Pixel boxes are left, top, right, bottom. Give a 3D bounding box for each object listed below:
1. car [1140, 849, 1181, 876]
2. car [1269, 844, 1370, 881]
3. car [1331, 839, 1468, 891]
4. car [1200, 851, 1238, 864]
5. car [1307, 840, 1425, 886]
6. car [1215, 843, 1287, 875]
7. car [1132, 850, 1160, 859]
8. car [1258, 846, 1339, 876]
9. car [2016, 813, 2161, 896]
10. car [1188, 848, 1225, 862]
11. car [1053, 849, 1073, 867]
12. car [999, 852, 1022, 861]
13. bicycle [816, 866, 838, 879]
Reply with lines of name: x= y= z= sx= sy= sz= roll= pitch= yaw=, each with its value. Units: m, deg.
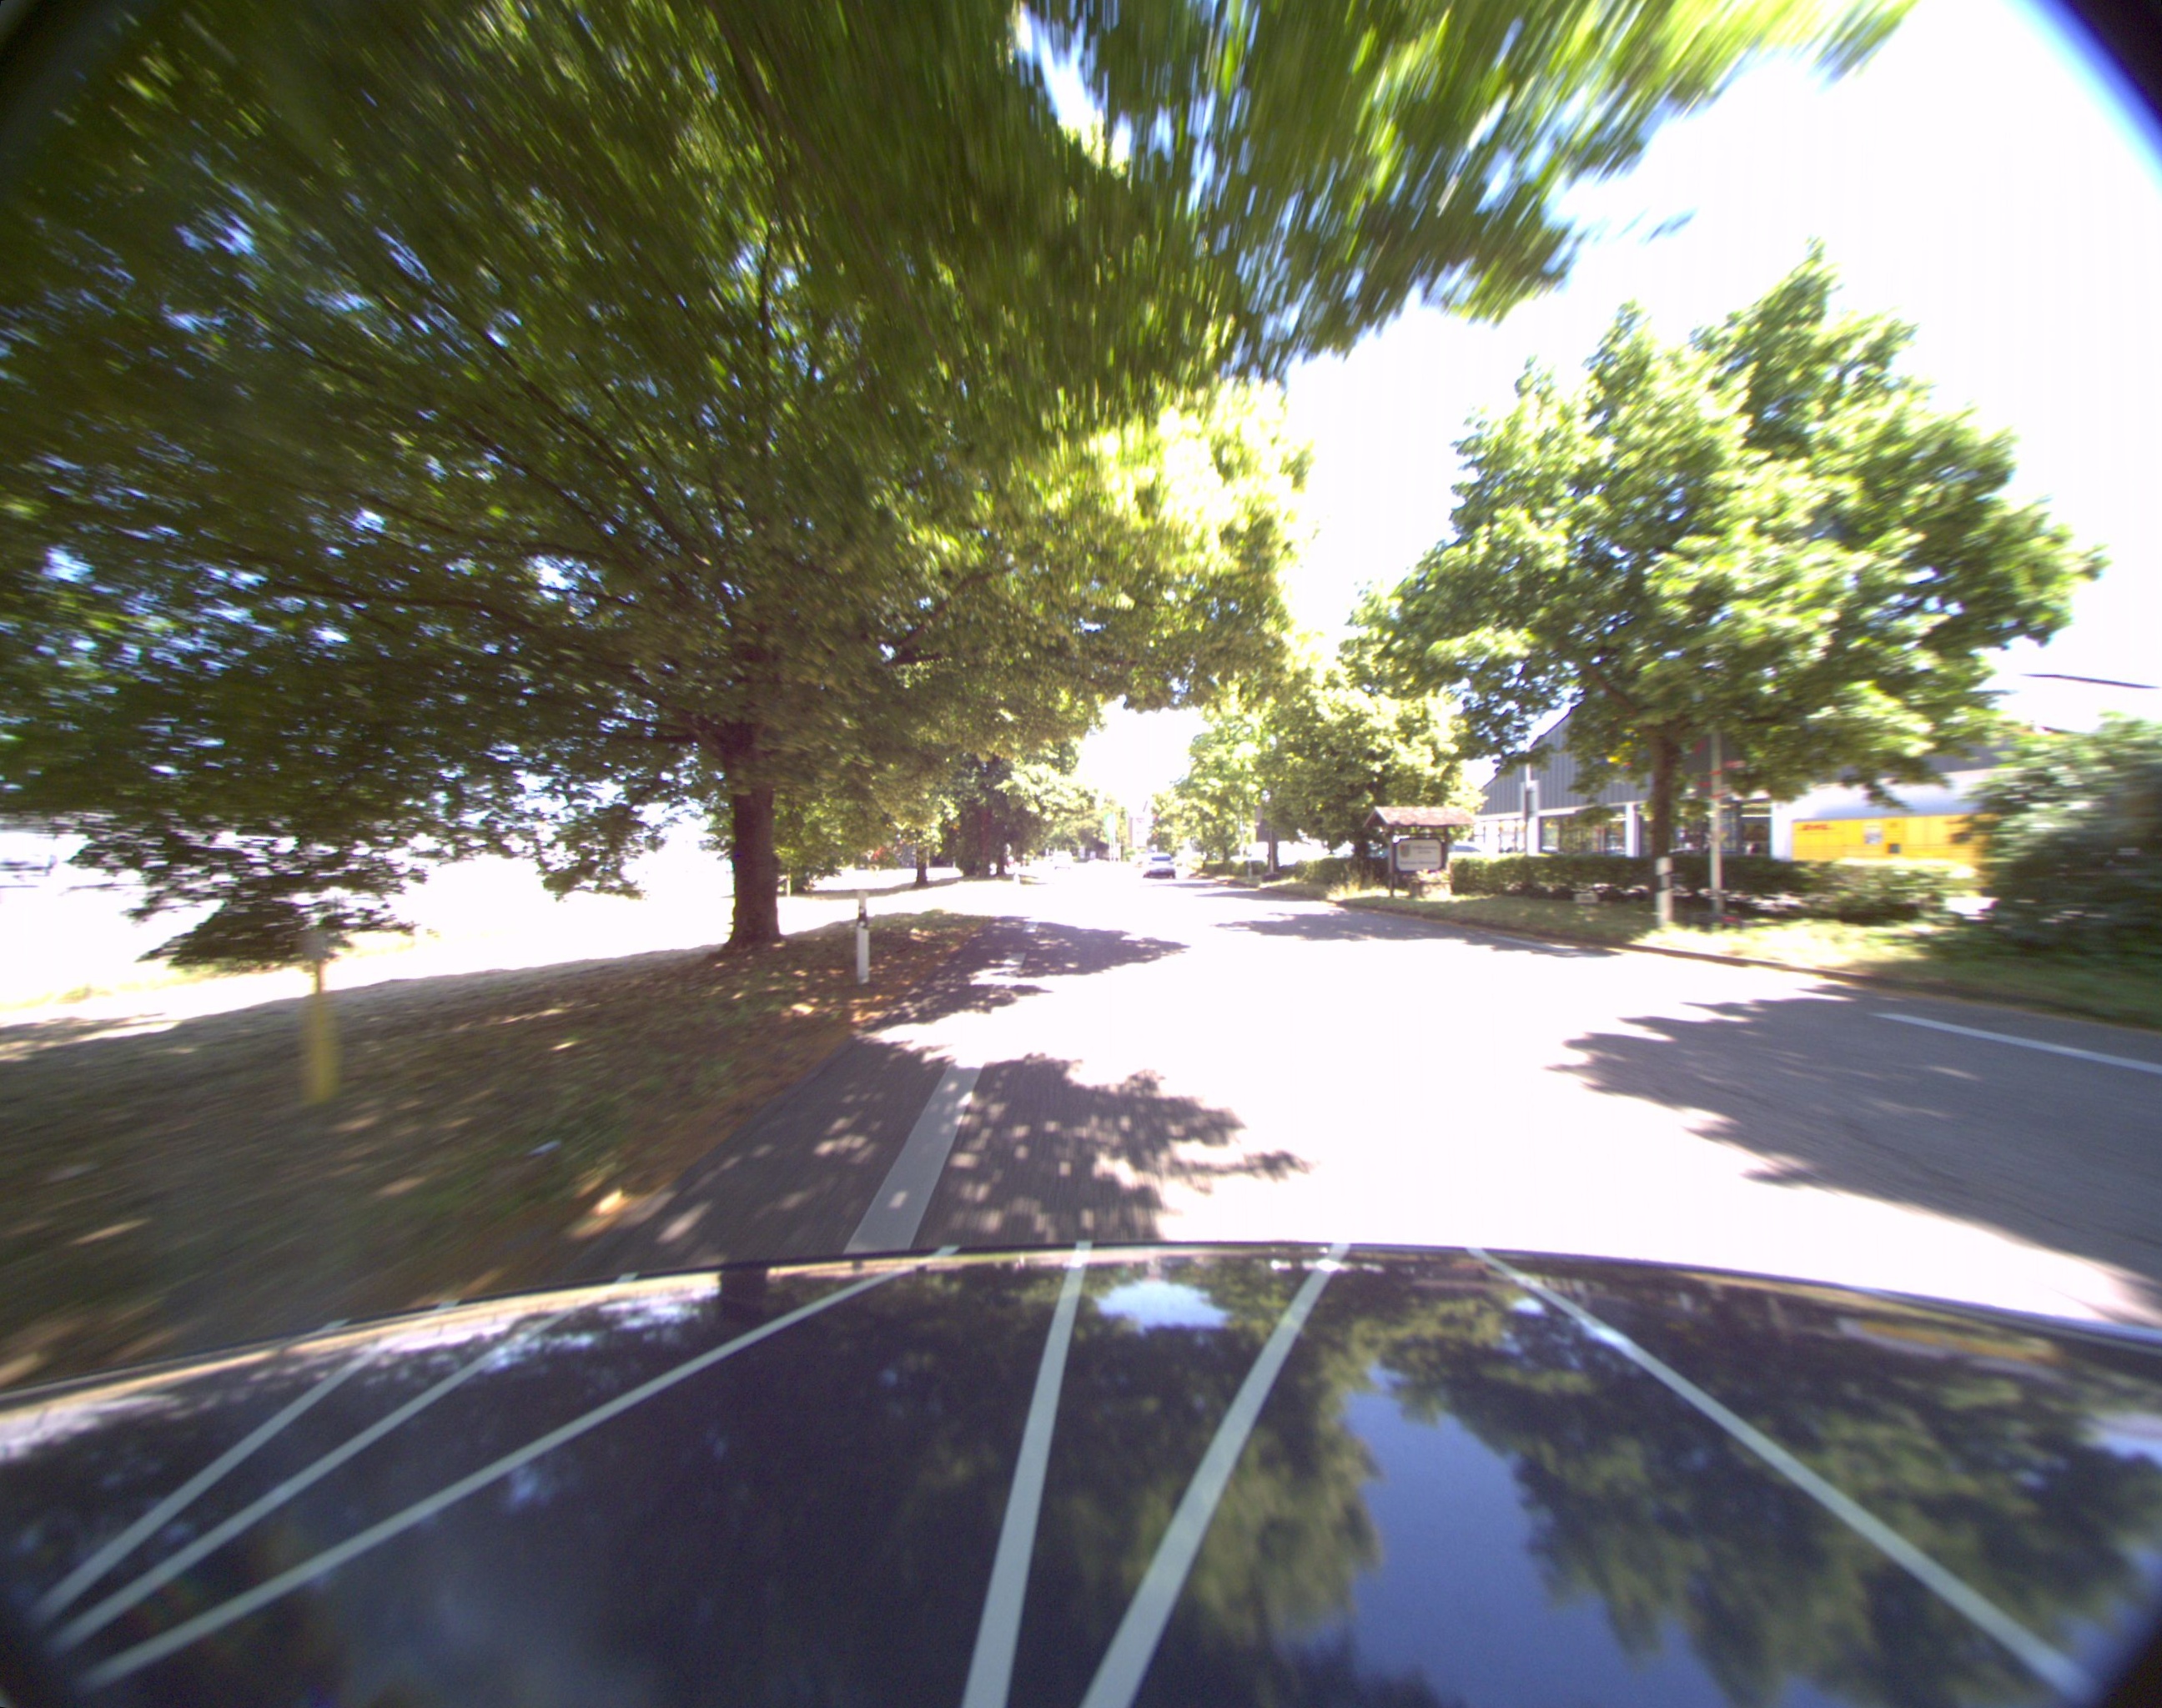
car: x=5.101 y=0.506 z=49.262 sx=2.099 sy=1.579 sz=4.474 roll=-3 pitch=1 yaw=0
car: x=12.013 y=0.413 z=38.458 sx=4.413 sy=1.611 sz=1.894 roll=-3 pitch=1 yaw=-3
car: x=12.359 y=0.418 z=29.694 sx=4.413 sy=1.766 sz=2.071 roll=-3 pitch=1 yaw=-3
car: x=16.003 y=0.413 z=88.242 sx=4.191 sy=1.438 sz=1.981 roll=-1 pitch=0 yaw=10
car: x=12.541 y=0.377 z=33.610 sx=4.413 sy=1.766 sz=2.071 roll=-3 pitch=1 yaw=-3
car: x=11.427 y=0.314 z=51.271 sx=4.369 sy=1.969 sz=1.904 roll=-2 pitch=1 yaw=-4
car: x=11.058 y=0.084 z=129.345 sx=4.361 sy=1.430 sz=1.935 roll=-1 pitch=1 yaw=-28
car: x=12.510 y=0.362 z=43.923 sx=4.040 sy=1.516 sz=1.933 roll=-3 pitch=1 yaw=-3
car: x=23.678 y=-0.098 z=16.152 sx=5.000 sy=1.562 sz=2.238 roll=-3 pitch=1 yaw=-2
car: x=15.891 y=0.073 z=96.047 sx=4.537 sy=1.654 sz=2.002 roll=-1 pitch=0 yaw=13
car: x=-2.056 y=0.458 z=85.304 sx=1.797 sy=1.904 sz=3.637 roll=-1 pitch=1 yaw=-8
car: x=-12.953 y=0.473 z=139.290 sx=4.238 sy=1.525 sz=1.957 roll=0 pitch=0 yaw=-7
bicycle: x=-21.649 y=1.585 z=64.843 sx=1.697 sy=1.091 sz=0.468 roll=-2 pitch=1 yaw=0
